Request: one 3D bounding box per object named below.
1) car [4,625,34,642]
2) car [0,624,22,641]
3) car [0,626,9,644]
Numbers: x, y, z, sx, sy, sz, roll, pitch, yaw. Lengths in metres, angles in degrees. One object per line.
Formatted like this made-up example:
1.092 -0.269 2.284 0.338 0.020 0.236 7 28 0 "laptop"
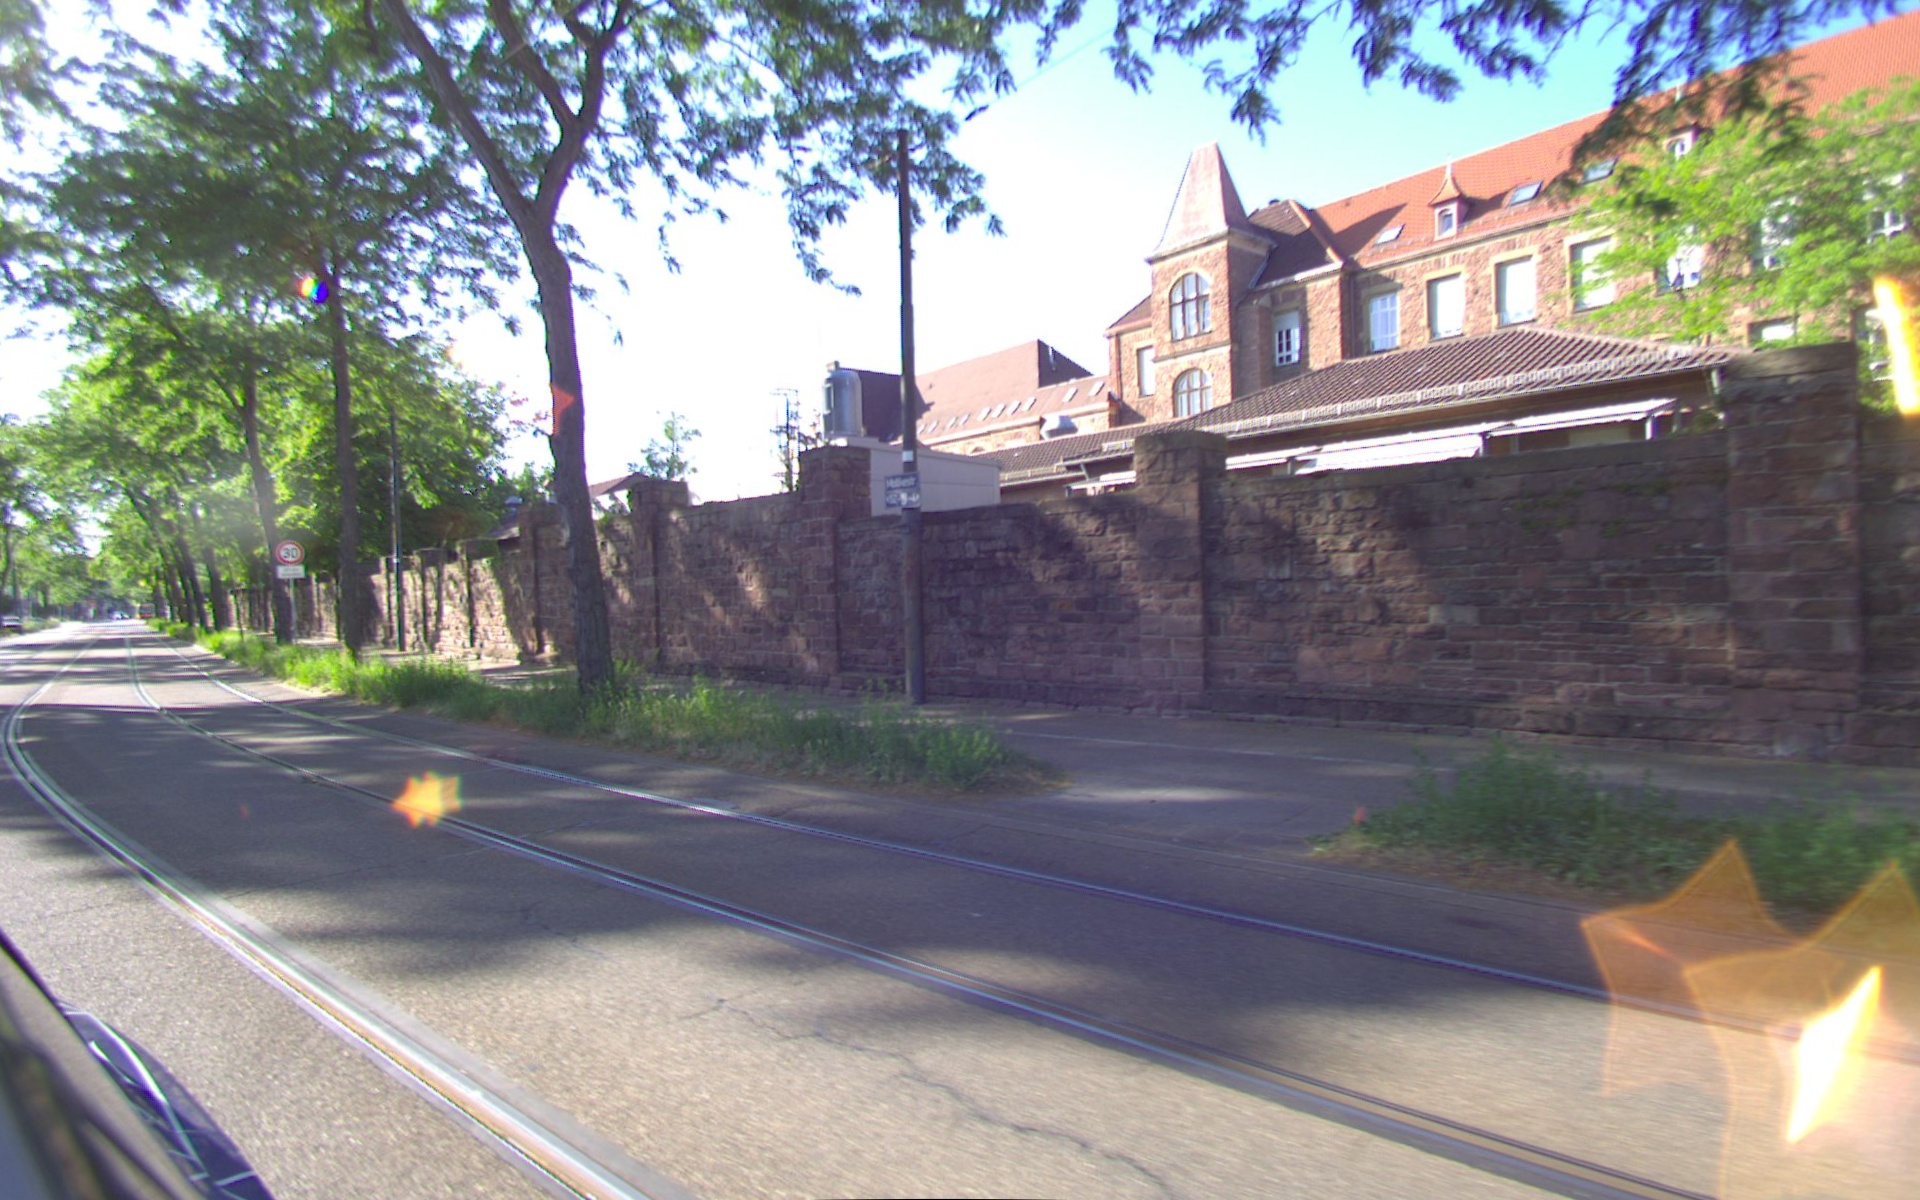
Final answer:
-95.954 3.422 103.267 1.968 1.429 4.007 -2 3 -39 "car"
-88.532 3.030 93.849 1.968 1.494 4.007 -2 1 -39 "car"
-82.687 3.024 86.446 1.761 1.387 3.661 -3 1 -39 "car"
